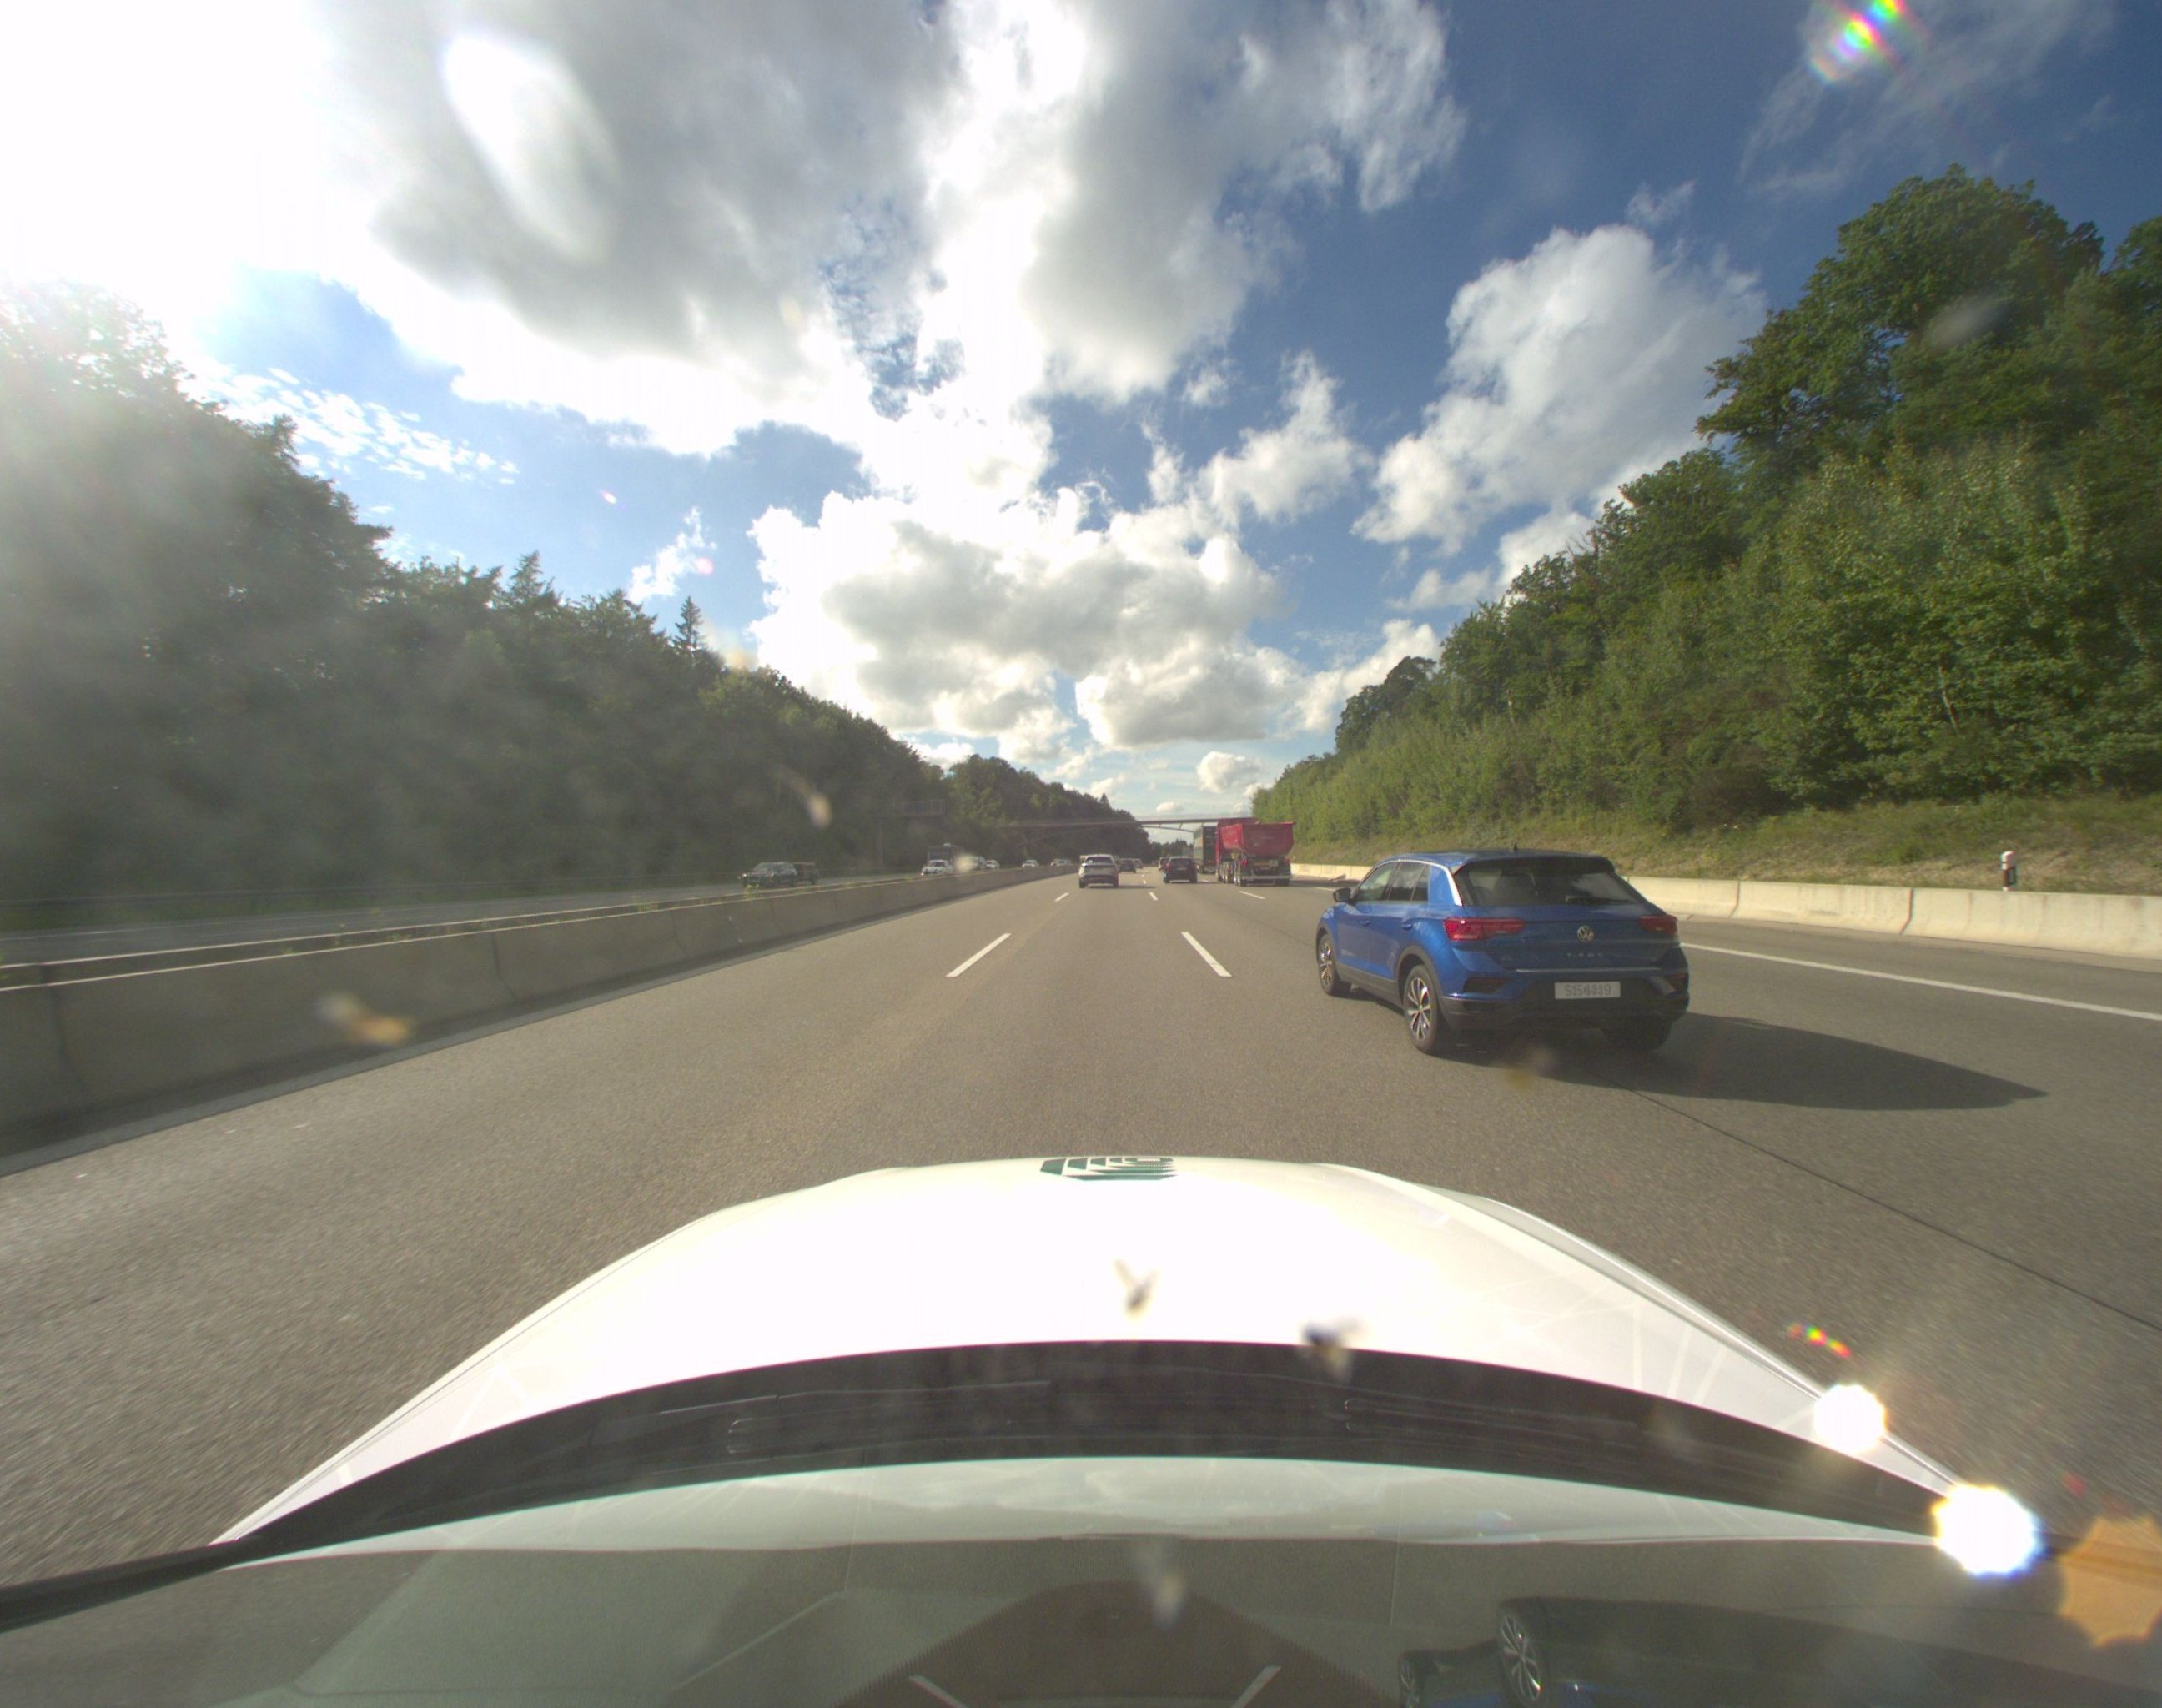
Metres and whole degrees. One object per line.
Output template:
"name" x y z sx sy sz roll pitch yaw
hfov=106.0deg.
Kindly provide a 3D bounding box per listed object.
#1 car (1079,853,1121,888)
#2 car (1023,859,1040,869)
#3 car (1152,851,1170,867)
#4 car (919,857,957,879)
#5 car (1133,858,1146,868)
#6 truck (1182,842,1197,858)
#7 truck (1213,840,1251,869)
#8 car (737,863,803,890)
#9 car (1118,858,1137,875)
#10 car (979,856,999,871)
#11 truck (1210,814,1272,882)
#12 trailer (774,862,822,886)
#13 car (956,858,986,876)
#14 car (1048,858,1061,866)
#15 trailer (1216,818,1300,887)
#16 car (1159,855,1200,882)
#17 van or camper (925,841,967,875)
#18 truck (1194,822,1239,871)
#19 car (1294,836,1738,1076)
"car" 0.999 0.782 41.556 1.998 1.616 5.303 0 0 2
"car" -6.786 1.360 111.007 1.837 1.296 4.261 -1 0 3
"car" 9.487 0.620 96.656 1.885 1.857 4.104 -1 0 4
"car" -10.646 1.029 60.895 1.807 1.535 4.319 -1 0 3
"car" 8.562 1.355 119.921 1.814 1.457 4.004 -1 0 4
"truck" 20.631 -0.672 154.976 2.829 2.925 8.404 -1 0 8
"truck" 15.221 0.041 82.735 2.700 2.739 8.059 -1 0 3
"car" -17.401 1.225 45.883 1.807 1.390 4.936 -1 0 0
"car" 4.597 1.228 80.455 1.814 1.546 4.003 0 0 3
"car" -11.464 1.183 101.997 1.837 1.744 4.261 -1 0 3
"truck" 9.322 -0.346 47.879 2.699 3.718 5.821 -1 0 2
"trailer" -17.395 1.195 50.249 1.653 1.413 3.710 -1 0 0
"car" -9.944 1.117 73.933 1.915 1.540 4.705 -1 0 3
"car" -4.383 1.372 134.871 1.837 1.296 4.261 -1 0 3
"trailer" 9.089 -0.064 42.963 2.699 3.231 9.738 -1 0 3
"car" 5.555 0.805 46.343 1.816 1.457 3.999 -1 0 0
"van or camper" -13.184 0.374 80.303 2.548 3.125 7.339 -1 0 3
"truck" 11.671 -0.577 71.140 3.104 3.935 10.425 -1 0 5
"car" 3.402 0.666 7.506 1.767 1.530 4.458 -1 0 1
